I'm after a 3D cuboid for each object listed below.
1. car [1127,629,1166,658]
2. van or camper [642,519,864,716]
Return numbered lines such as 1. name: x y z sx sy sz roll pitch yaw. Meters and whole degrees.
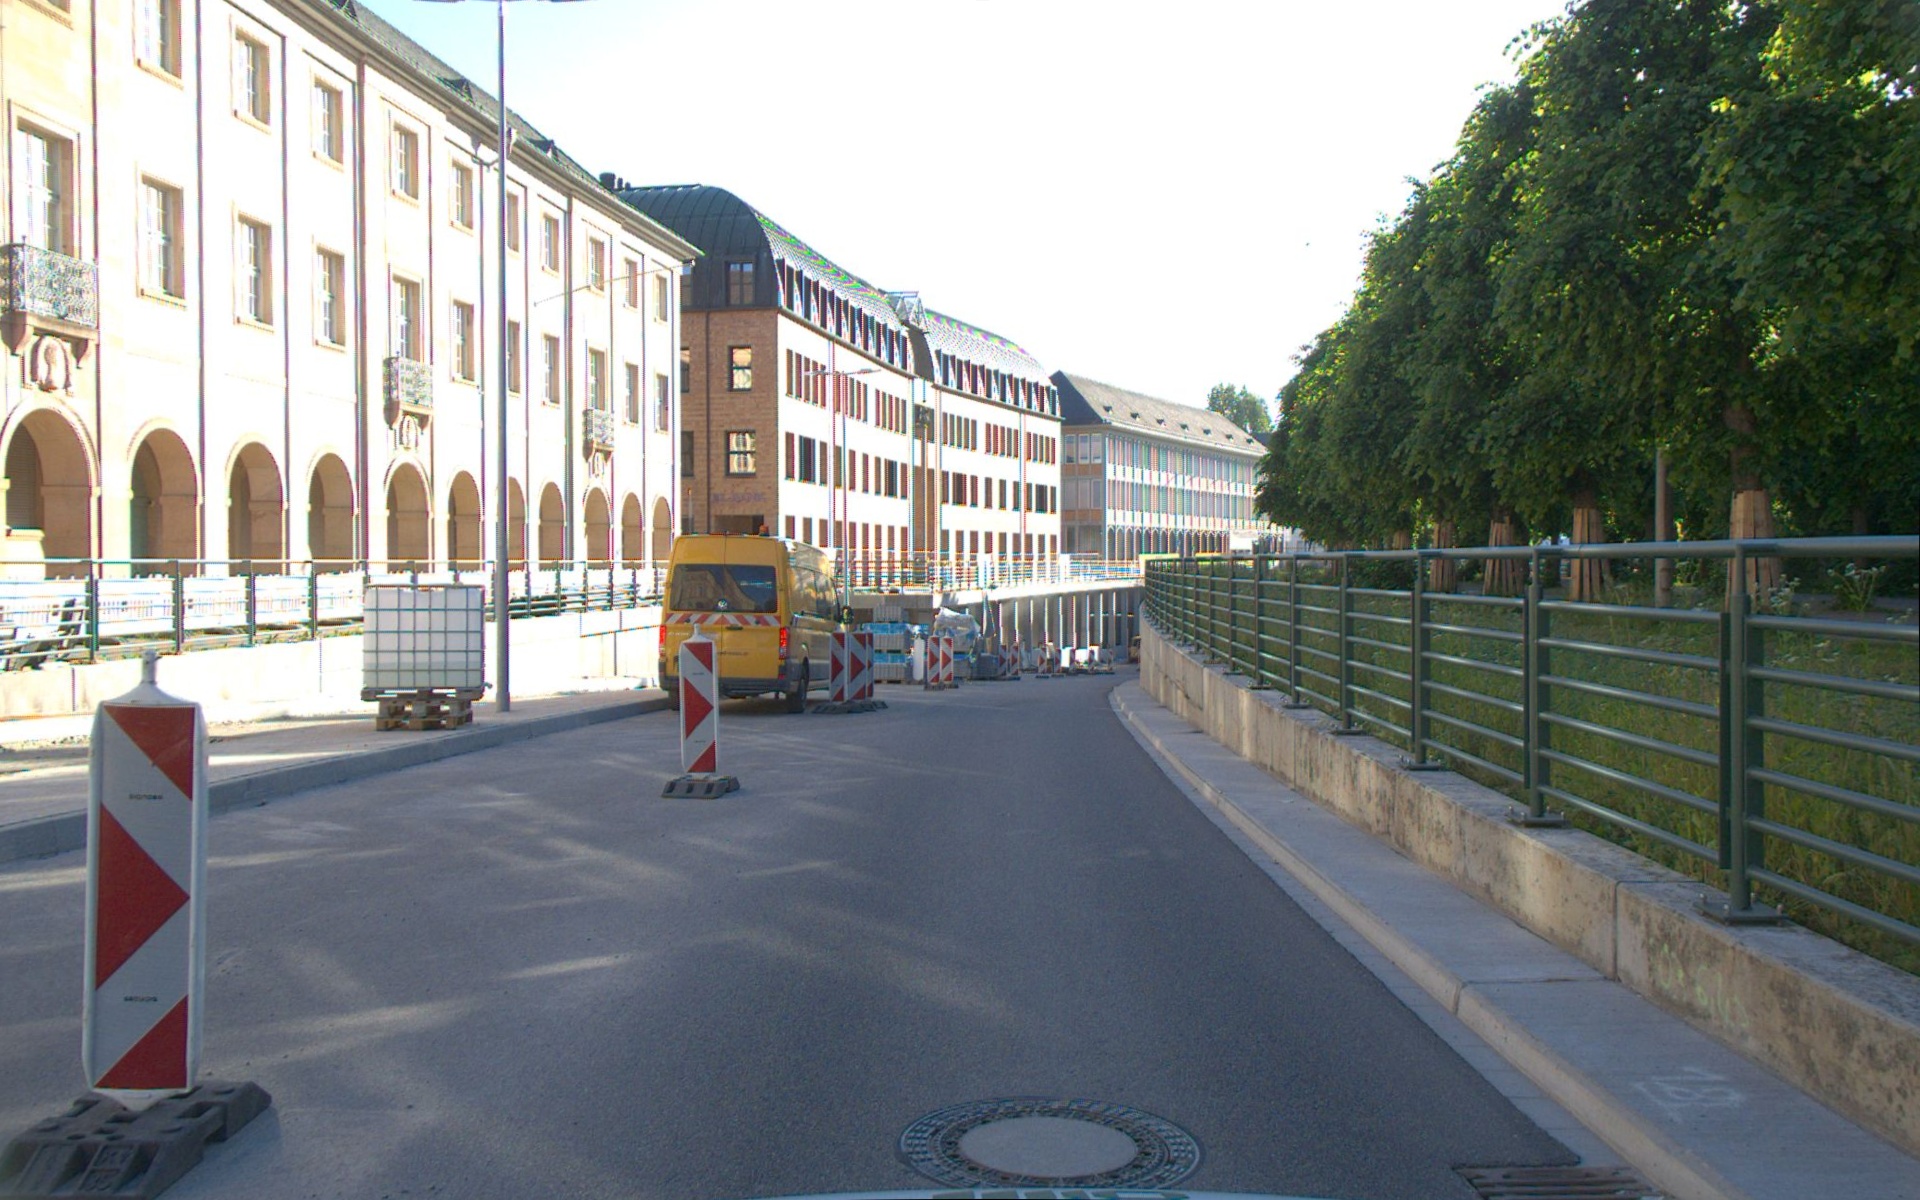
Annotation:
1. car: 12.569 2.905 111.395 1.809 1.806 4.437 1 1 17
2. van or camper: -3.081 0.321 26.425 2.148 2.658 6.827 2 -1 4
